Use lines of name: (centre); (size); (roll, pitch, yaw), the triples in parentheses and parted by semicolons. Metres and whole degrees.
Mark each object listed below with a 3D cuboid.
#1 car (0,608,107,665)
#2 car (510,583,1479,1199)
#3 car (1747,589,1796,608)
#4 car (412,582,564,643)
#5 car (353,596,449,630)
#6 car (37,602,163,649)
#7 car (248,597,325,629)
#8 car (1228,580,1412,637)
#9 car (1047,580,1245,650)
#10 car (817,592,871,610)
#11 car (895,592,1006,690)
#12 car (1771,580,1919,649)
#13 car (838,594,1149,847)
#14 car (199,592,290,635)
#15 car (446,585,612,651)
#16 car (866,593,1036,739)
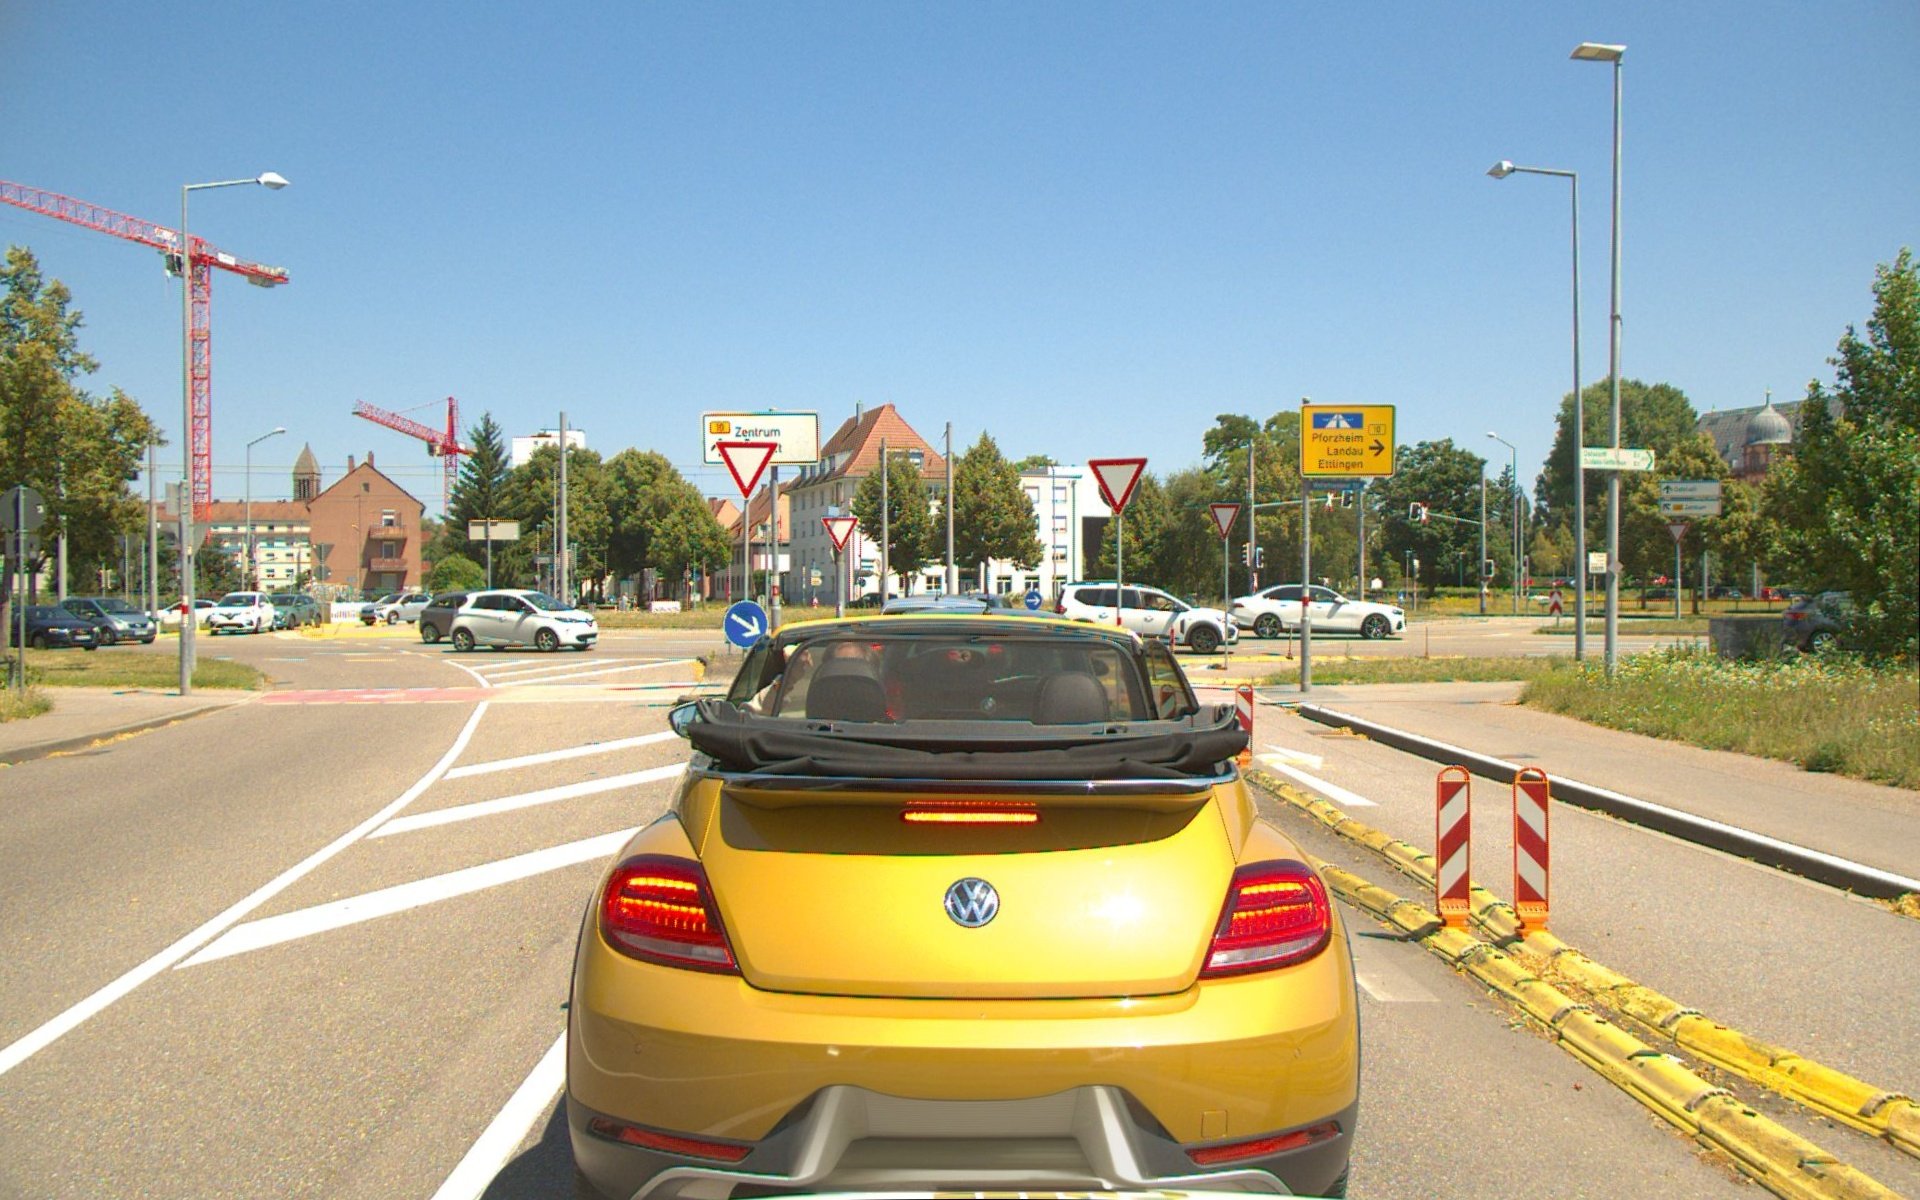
car: (-28.085, 1.082, 50.900); (3.933, 1.648, 1.730); (0, 0, 37)
car: (0.035, 0.697, 4.826); (1.717, 1.447, 3.776); (0, 0, -1)
car: (76.418, -0.124, 155.812); (3.926, 1.744, 1.989); (0, 0, -19)
car: (-13.793, 0.370, 48.411); (3.902, 1.522, 1.649); (-4, -1, 13)
car: (-26.269, 0.604, 77.877); (1.676, 1.526, 4.210); (0, 0, 32)
car: (-28.934, 0.827, 55.638); (3.909, 1.522, 1.799); (0, 0, 26)
car: (-27.783, 0.524, 68.331); (1.672, 1.258, 3.786); (0, 0, -1)
car: (10.030, 0.238, 46.410); (4.884, 1.536, 2.001); (0, 0, 7)
car: (4.462, 0.340, 39.413); (4.477, 1.593, 2.002); (0, 0, 14)
car: (-8.346, 0.095, 118.775); (3.712, 1.258, 1.705); (0, 0, 37)
car: (-0.173, 0.636, 27.480); (1.701, 1.503, 3.999); (0, 0, -1)
car: (20.319, 0.318, 36.515); (4.117, 1.467, 2.001); (0, 0, 19)
car: (0.170, 0.703, 11.670); (1.810, 1.467, 3.999); (0, 0, -1)
car: (-27.059, 0.505, 62.669); (1.720, 1.576, 3.999); (0, 0, -1)
car: (-11.177, 0.447, 42.891); (3.916, 1.648, 1.680); (0, 0, 20)
car: (-0.115, 0.662, 18.679); (1.701, 1.467, 3.999); (0, 0, -1)
